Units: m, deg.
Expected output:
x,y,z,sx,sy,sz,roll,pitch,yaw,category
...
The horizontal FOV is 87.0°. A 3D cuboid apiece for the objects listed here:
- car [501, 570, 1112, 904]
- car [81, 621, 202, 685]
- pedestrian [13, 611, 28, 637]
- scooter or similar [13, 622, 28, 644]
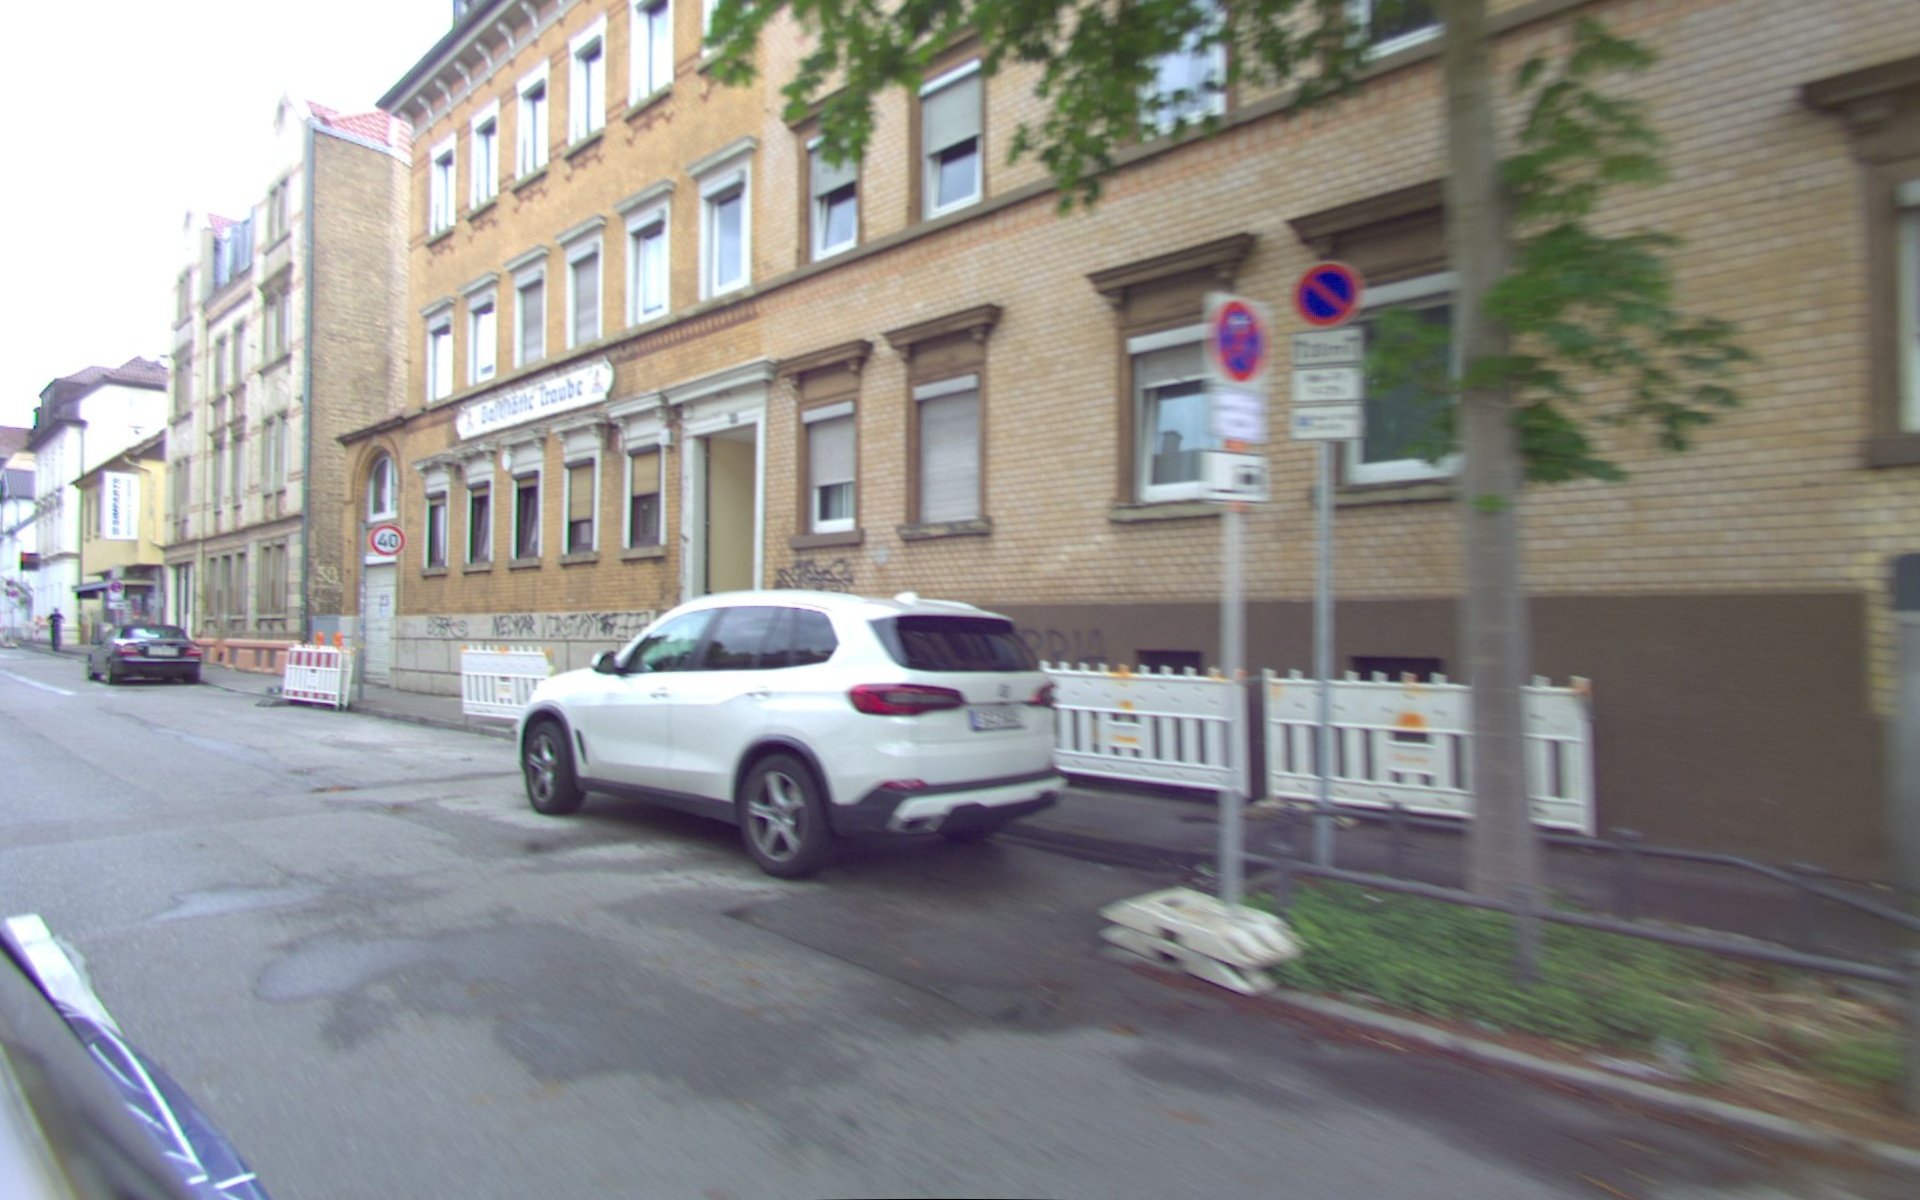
x,y,z,sx,sy,sz,roll,pitch,yaw,category
-1.391,0.780,7.537,4.739,1.725,1.871,-1,-3,42,car
-19.739,1.235,24.344,4.353,1.393,1.562,-1,-3,42,car
-57.841,1.484,62.316,0.607,1.578,0.594,0,0,41,pedestrian
-57.811,2.035,62.275,1.227,1.300,0.554,0,0,41,scooter or similar
